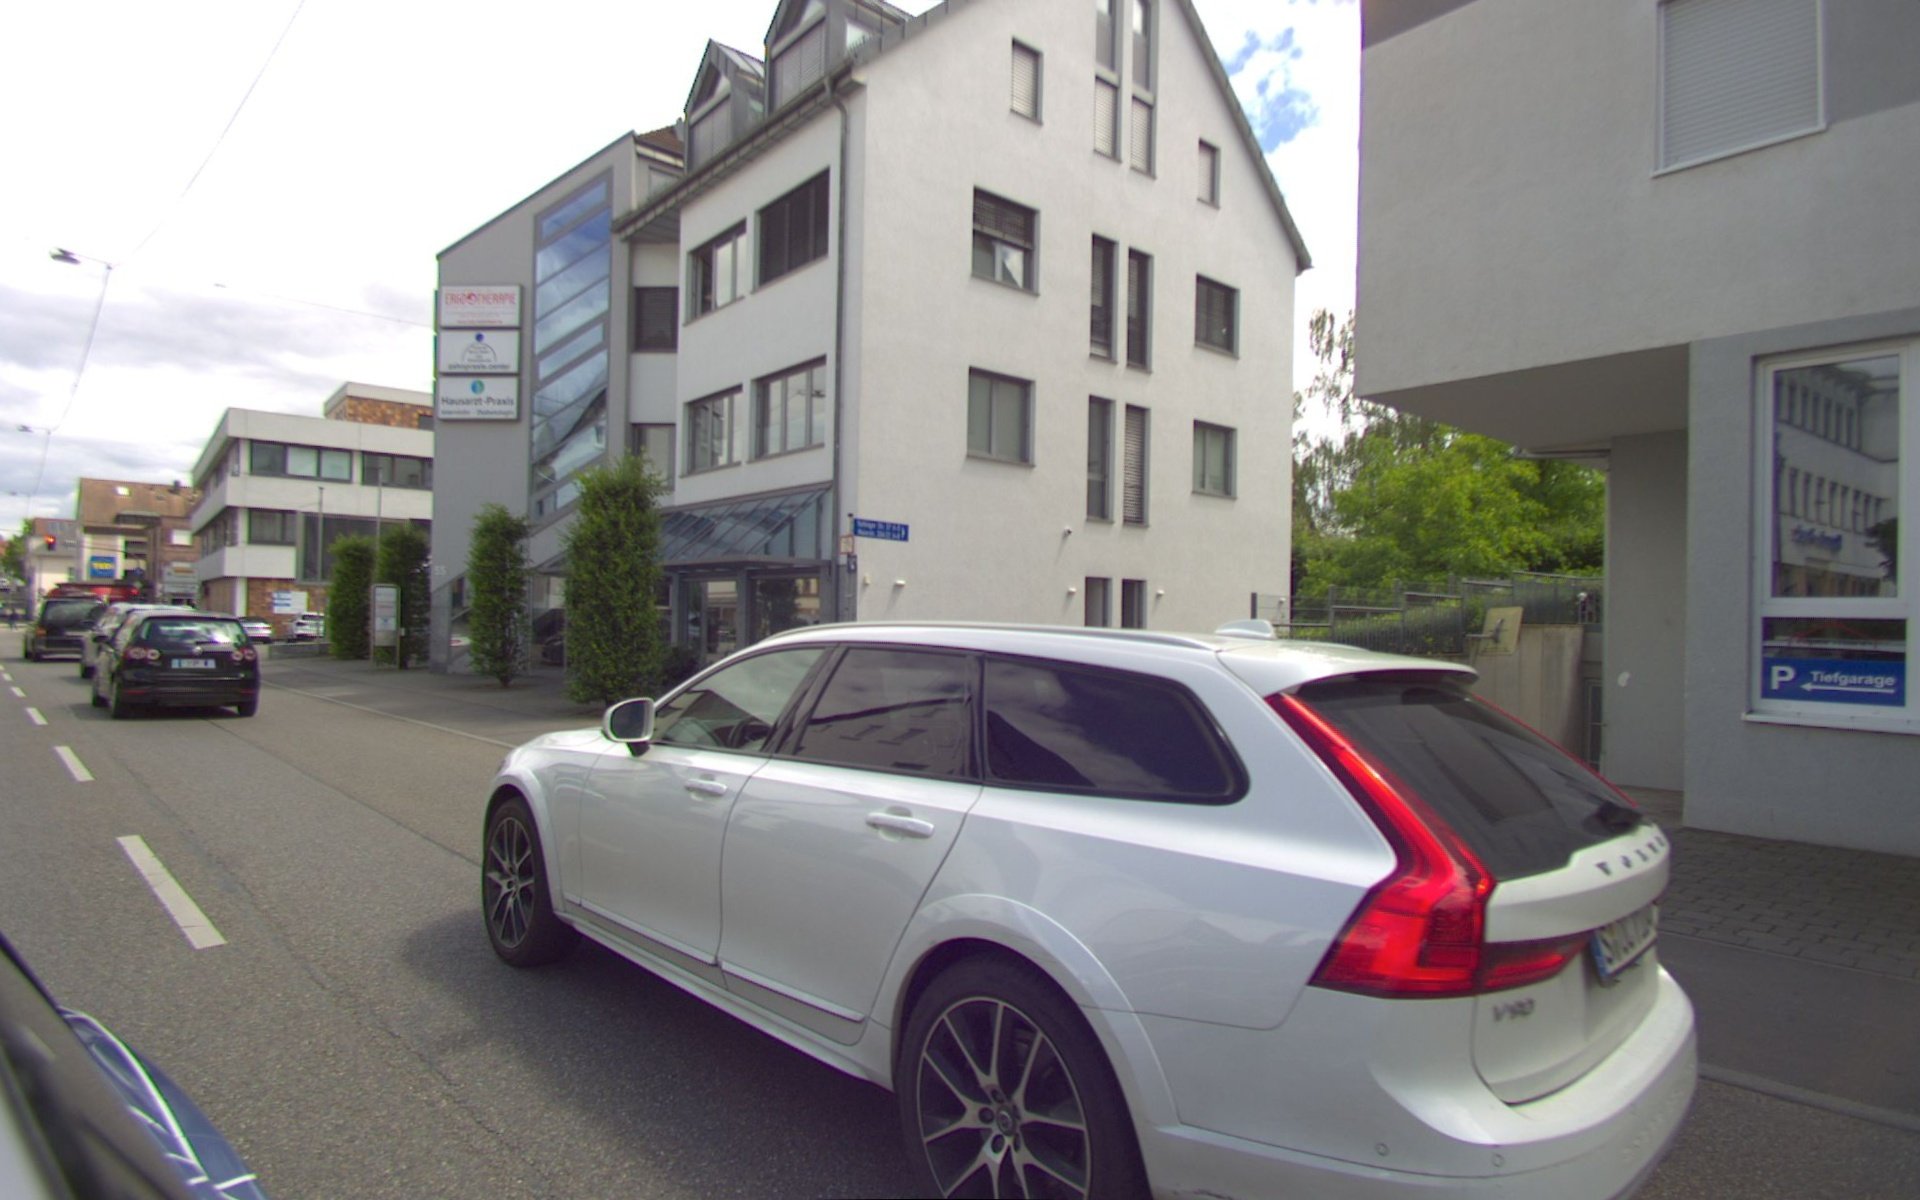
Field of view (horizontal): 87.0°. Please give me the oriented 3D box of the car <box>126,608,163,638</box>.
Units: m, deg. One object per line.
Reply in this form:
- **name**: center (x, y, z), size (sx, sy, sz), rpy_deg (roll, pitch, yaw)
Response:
- **car**: center (-51.838, 1.438, 64.383), size (1.676, 1.790, 4.470), rpy_deg (1, -1, -37)

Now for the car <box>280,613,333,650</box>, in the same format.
- **car**: center (-33.596, 1.593, 51.978), size (1.868, 1.710, 3.809), rpy_deg (5, -3, -37)

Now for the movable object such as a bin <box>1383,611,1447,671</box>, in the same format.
- **movable object such as a bin**: center (13.850, 1.225, 30.829), size (1.509, 1.744, 1.071), rpy_deg (0, -1, 45)

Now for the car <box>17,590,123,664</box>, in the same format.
- **car**: center (-28.376, 0.876, 32.216), size (4.884, 2.168, 2.087), rpy_deg (-1, -3, 44)

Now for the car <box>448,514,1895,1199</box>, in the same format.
- **car**: center (0.023, 0.766, 3.626), size (1.875, 1.571, 4.804), rpy_deg (6, -5, -44)

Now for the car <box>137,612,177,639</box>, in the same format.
- **car**: center (-48.069, 1.493, 60.641), size (1.781, 1.541, 4.009), rpy_deg (1, -1, -37)

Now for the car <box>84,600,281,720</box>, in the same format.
- **car**: center (-12.005, 0.873, 15.526), size (4.039, 1.596, 1.811), rpy_deg (-1, -4, 45)

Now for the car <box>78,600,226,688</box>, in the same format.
- **car**: center (-18.281, 0.957, 22.813), size (4.798, 1.751, 1.963), rpy_deg (0, -4, 45)

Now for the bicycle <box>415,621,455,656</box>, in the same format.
- **bicycle**: center (-17.844, 1.302, 34.392), size (1.687, 1.150, 0.635), rpy_deg (0, -1, 42)

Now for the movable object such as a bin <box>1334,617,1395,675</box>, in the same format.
- **movable object such as a bin**: center (12.757, 1.431, 31.917), size (1.509, 1.744, 1.071), rpy_deg (0, -1, 45)

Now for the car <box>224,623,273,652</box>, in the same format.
- **car**: center (-35.665, 1.861, 50.677), size (1.796, 1.338, 4.245), rpy_deg (1, -1, -37)
